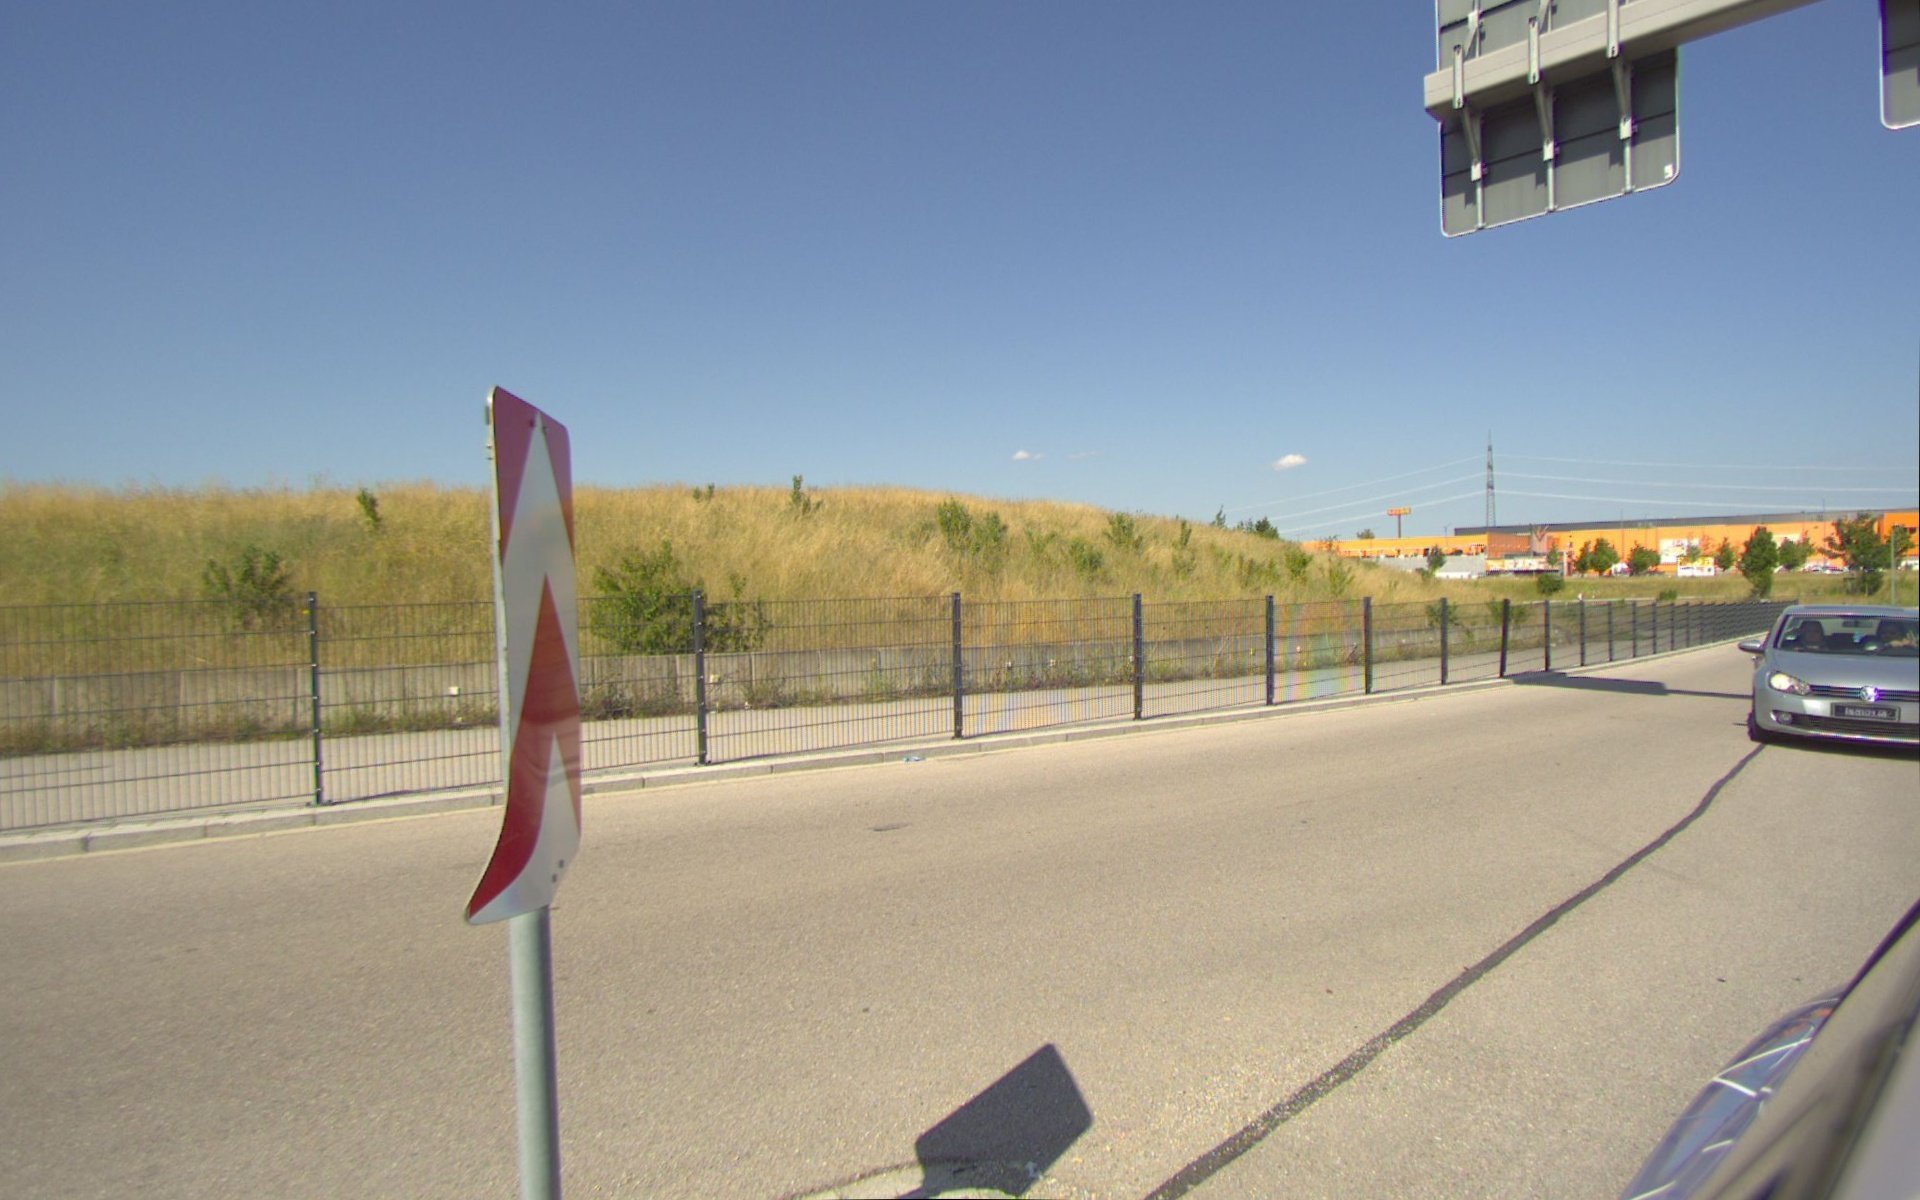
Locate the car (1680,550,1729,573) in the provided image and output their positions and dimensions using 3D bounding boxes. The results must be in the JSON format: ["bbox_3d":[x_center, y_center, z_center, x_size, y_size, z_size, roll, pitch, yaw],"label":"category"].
[{"bbox_3d":[90.090,-4.666,122.458,4.614,2.581,1.972,-1,0,40],"label":"car"}]

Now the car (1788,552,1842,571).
[{"bbox_3d":[97.614,-4.395,115.551,4.614,2.039,1.972,-1,0,40],"label":"car"}]

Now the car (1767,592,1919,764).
[{"bbox_3d":[9.834,0.710,10.875,1.739,1.486,3.906,2,2,38],"label":"car"}]
